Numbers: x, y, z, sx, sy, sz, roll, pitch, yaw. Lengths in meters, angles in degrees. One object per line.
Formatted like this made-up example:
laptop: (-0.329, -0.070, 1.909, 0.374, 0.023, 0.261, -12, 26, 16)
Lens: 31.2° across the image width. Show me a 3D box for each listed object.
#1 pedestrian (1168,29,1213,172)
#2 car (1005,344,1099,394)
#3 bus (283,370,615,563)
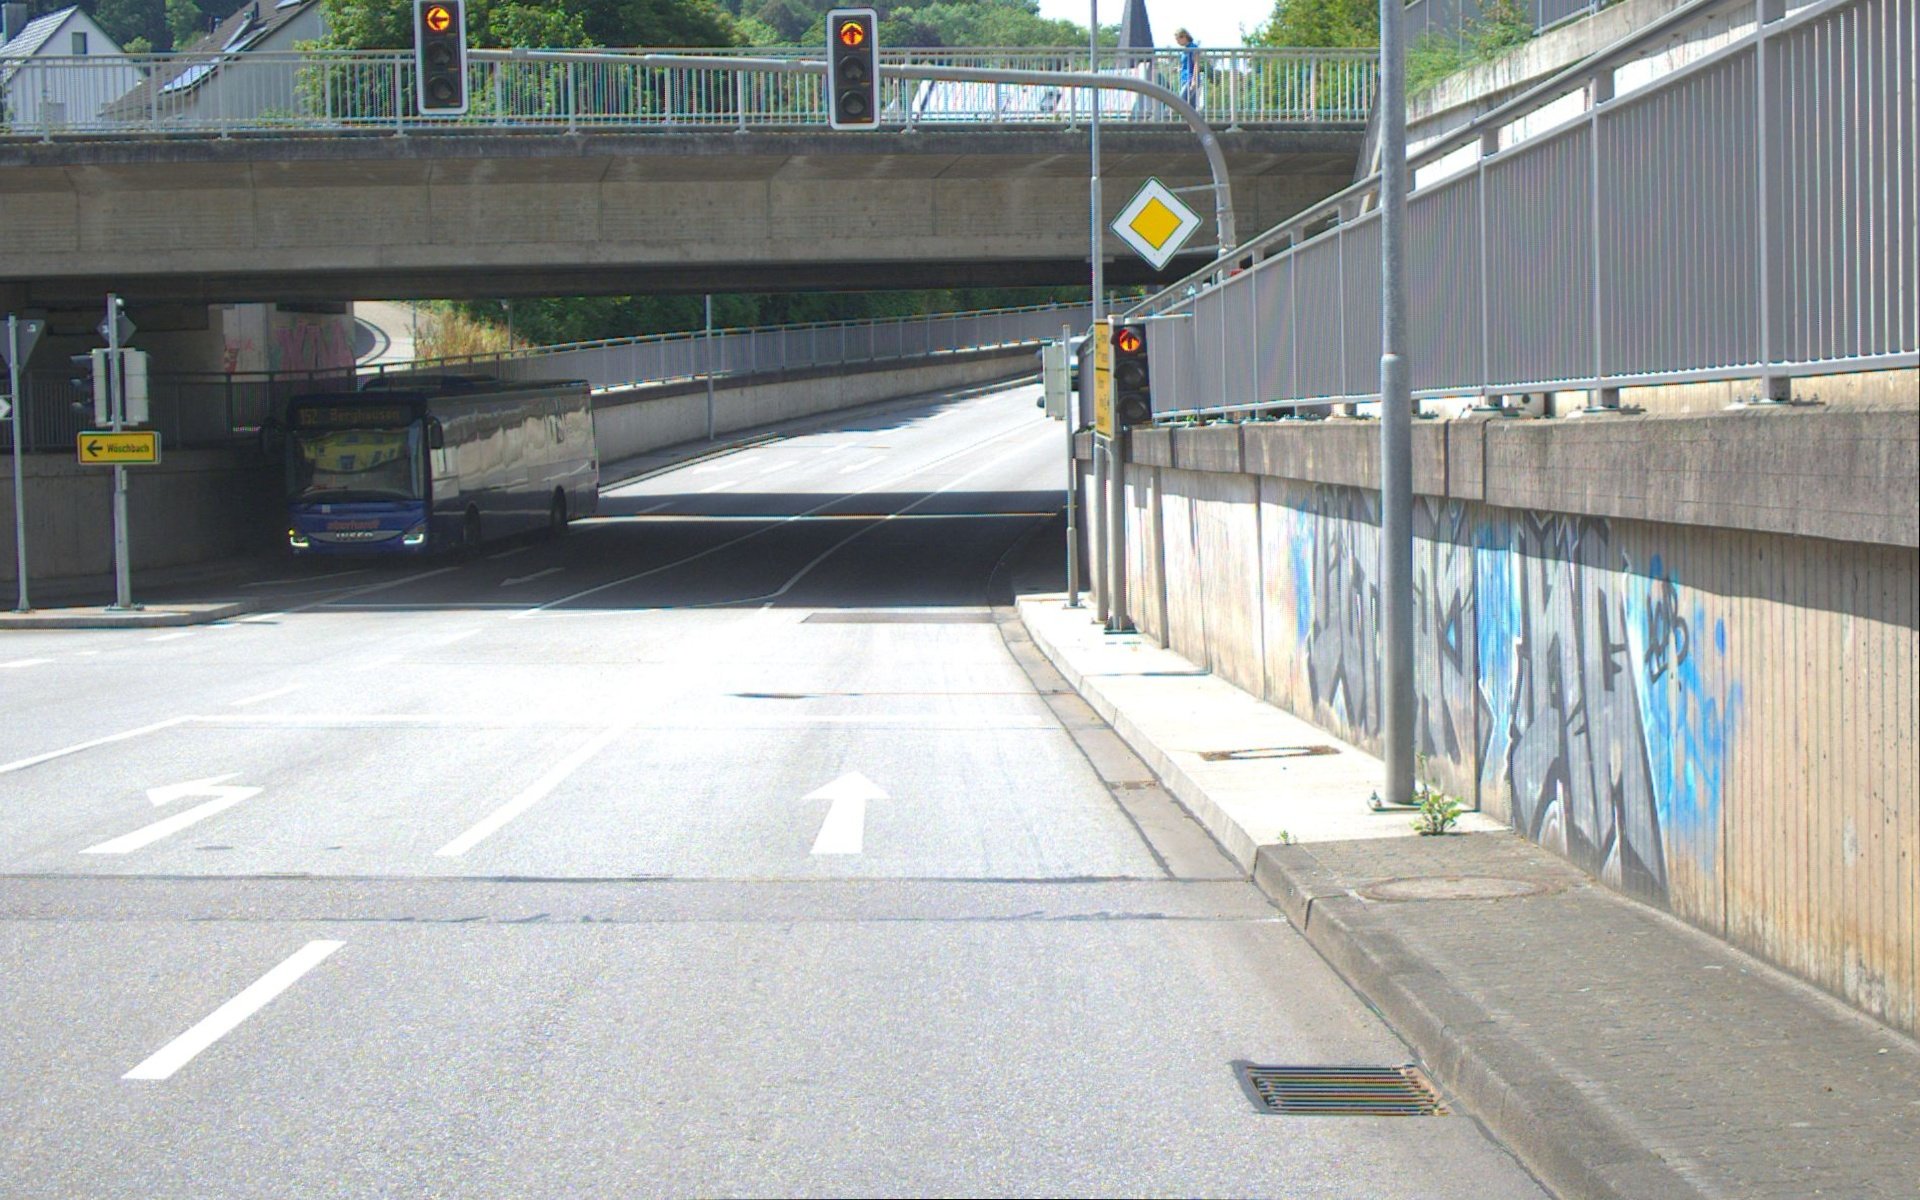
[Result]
pedestrian: (3.466, -7.516, 51.733, 0.539, 2.074, 0.535, -2, 2, -7)
car: (3.070, -7.651, 113.862, 1.995, 1.621, 3.997, 1, 4, 19)
bus: (-9.032, -2.593, 62.681, 2.582, 3.161, 12.375, 0, 4, 8)
